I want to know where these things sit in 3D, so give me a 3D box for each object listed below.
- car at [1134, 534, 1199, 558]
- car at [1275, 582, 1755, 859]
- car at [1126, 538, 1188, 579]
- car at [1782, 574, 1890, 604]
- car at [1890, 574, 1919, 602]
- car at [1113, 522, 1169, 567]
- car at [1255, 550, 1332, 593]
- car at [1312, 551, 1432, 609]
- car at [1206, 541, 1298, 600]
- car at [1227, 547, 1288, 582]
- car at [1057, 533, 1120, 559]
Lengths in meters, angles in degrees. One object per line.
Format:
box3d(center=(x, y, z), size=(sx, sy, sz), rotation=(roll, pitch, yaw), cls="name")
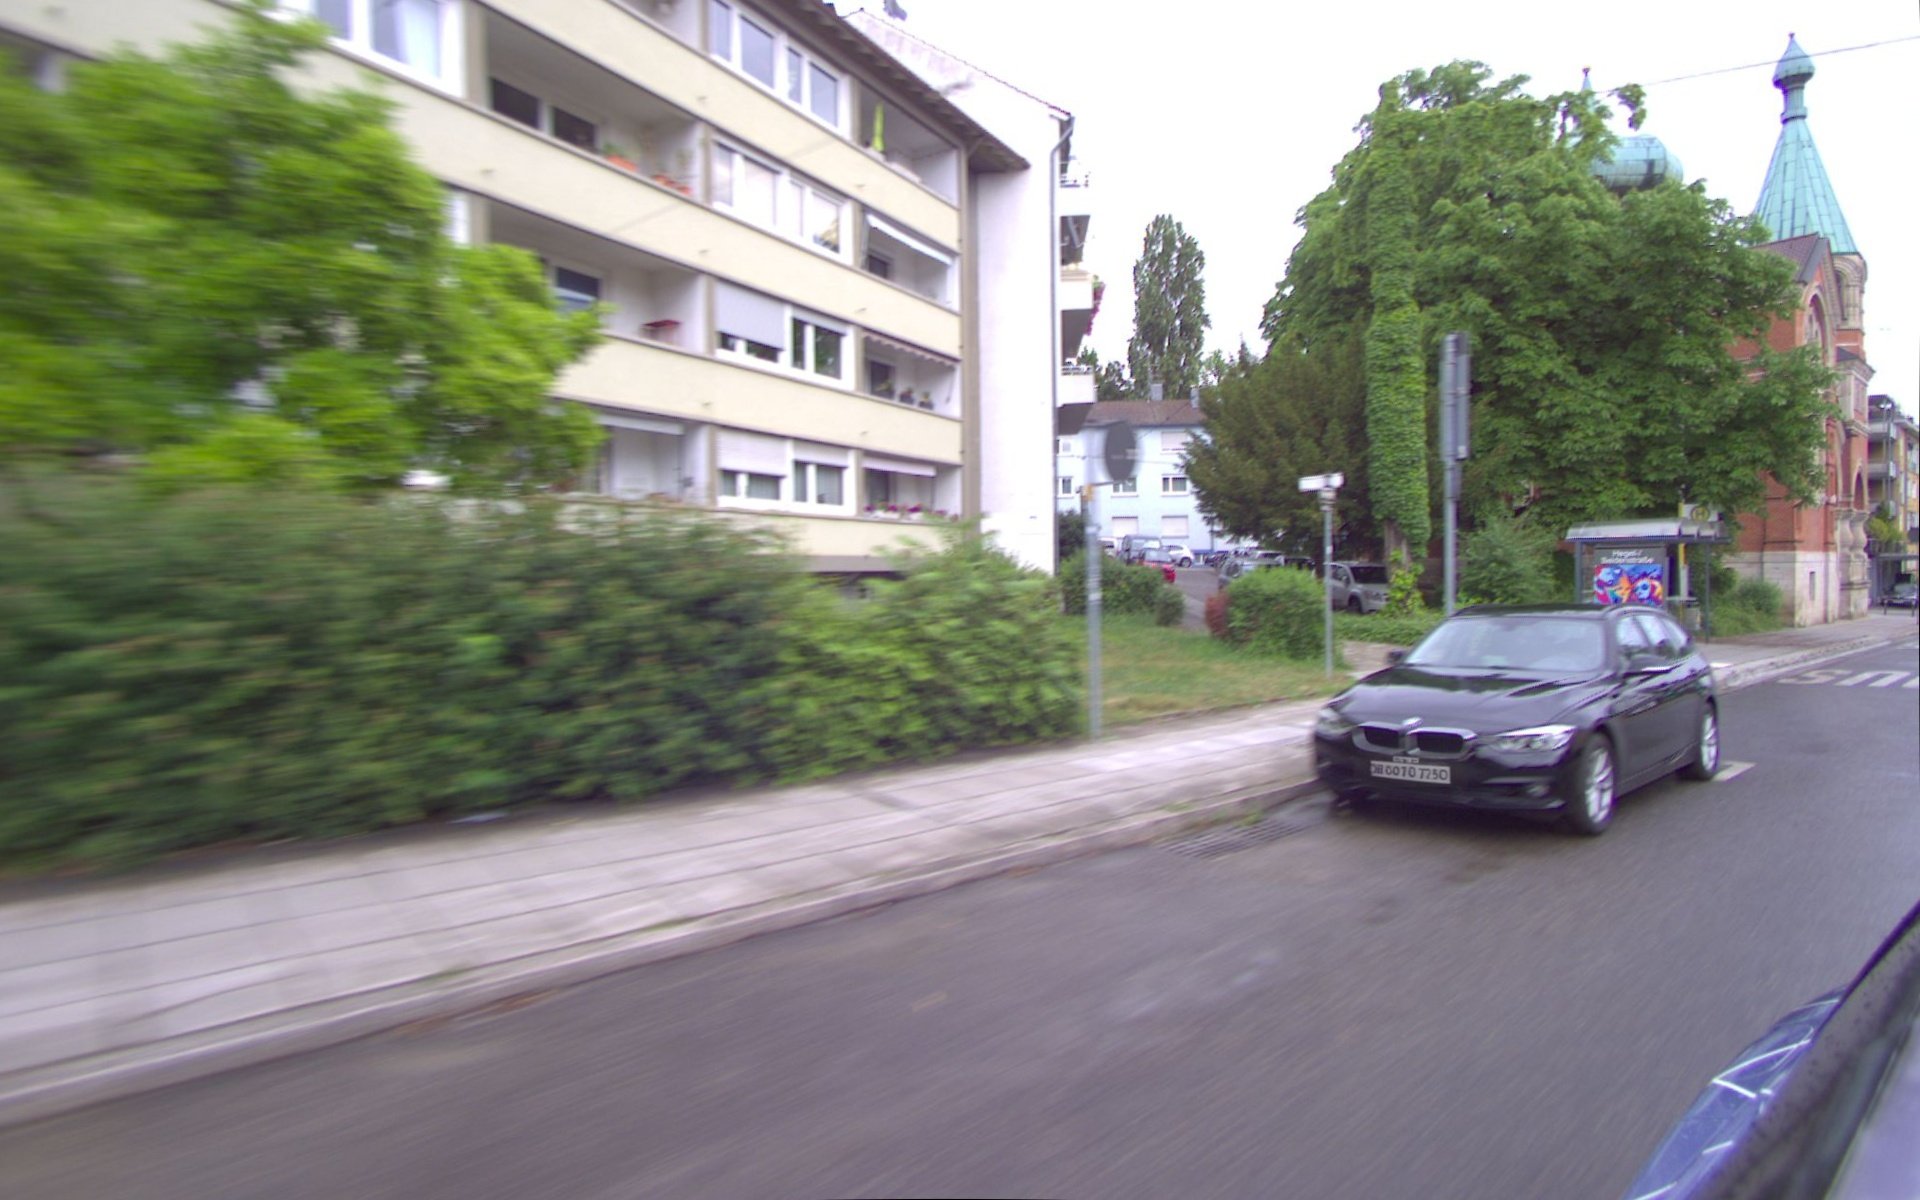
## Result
box3d(center=(12.971, -3.398, 63.819), size=(3.934, 1.424, 1.824), rotation=(0, 1, 9), cls="car")
box3d(center=(4.476, 0.638, 7.794), size=(4.566, 1.506, 1.860), rotation=(-1, 0, -42), cls="car")
box3d(center=(8.718, -1.797, 45.132), size=(1.807, 1.716, 4.203), rotation=(-1, 1, -1), cls="car")
box3d(center=(51.303, -0.672, 59.358), size=(4.370, 1.475, 2.000), rotation=(3, 0, 4), cls="car")
box3d(center=(60.355, -0.784, 63.905), size=(4.372, 1.521, 1.858), rotation=(-3, 5, -40), cls="car")
box3d(center=(8.788, -2.654, 49.407), size=(1.962, 2.002, 4.000), rotation=(-2, 1, 0), cls="car")
box3d(center=(13.222, -1.123, 40.356), size=(1.808, 1.583, 3.994), rotation=(-1, 1, 2), cls="car")
box3d(center=(12.233, -0.617, 30.380), size=(1.807, 1.577, 4.385), rotation=(-1, 1, 0), cls="car")
box3d(center=(9.151, -0.929, 32.071), size=(1.808, 1.716, 4.200), rotation=(-1, 1, 2), cls="car")
box3d(center=(13.294, -1.551, 45.441), size=(1.711, 1.463, 3.835), rotation=(-1, 1, 2), cls="car")
box3d(center=(8.179, -3.440, 64.304), size=(3.933, 1.550, 1.825), rotation=(0, 1, 9), cls="car")
